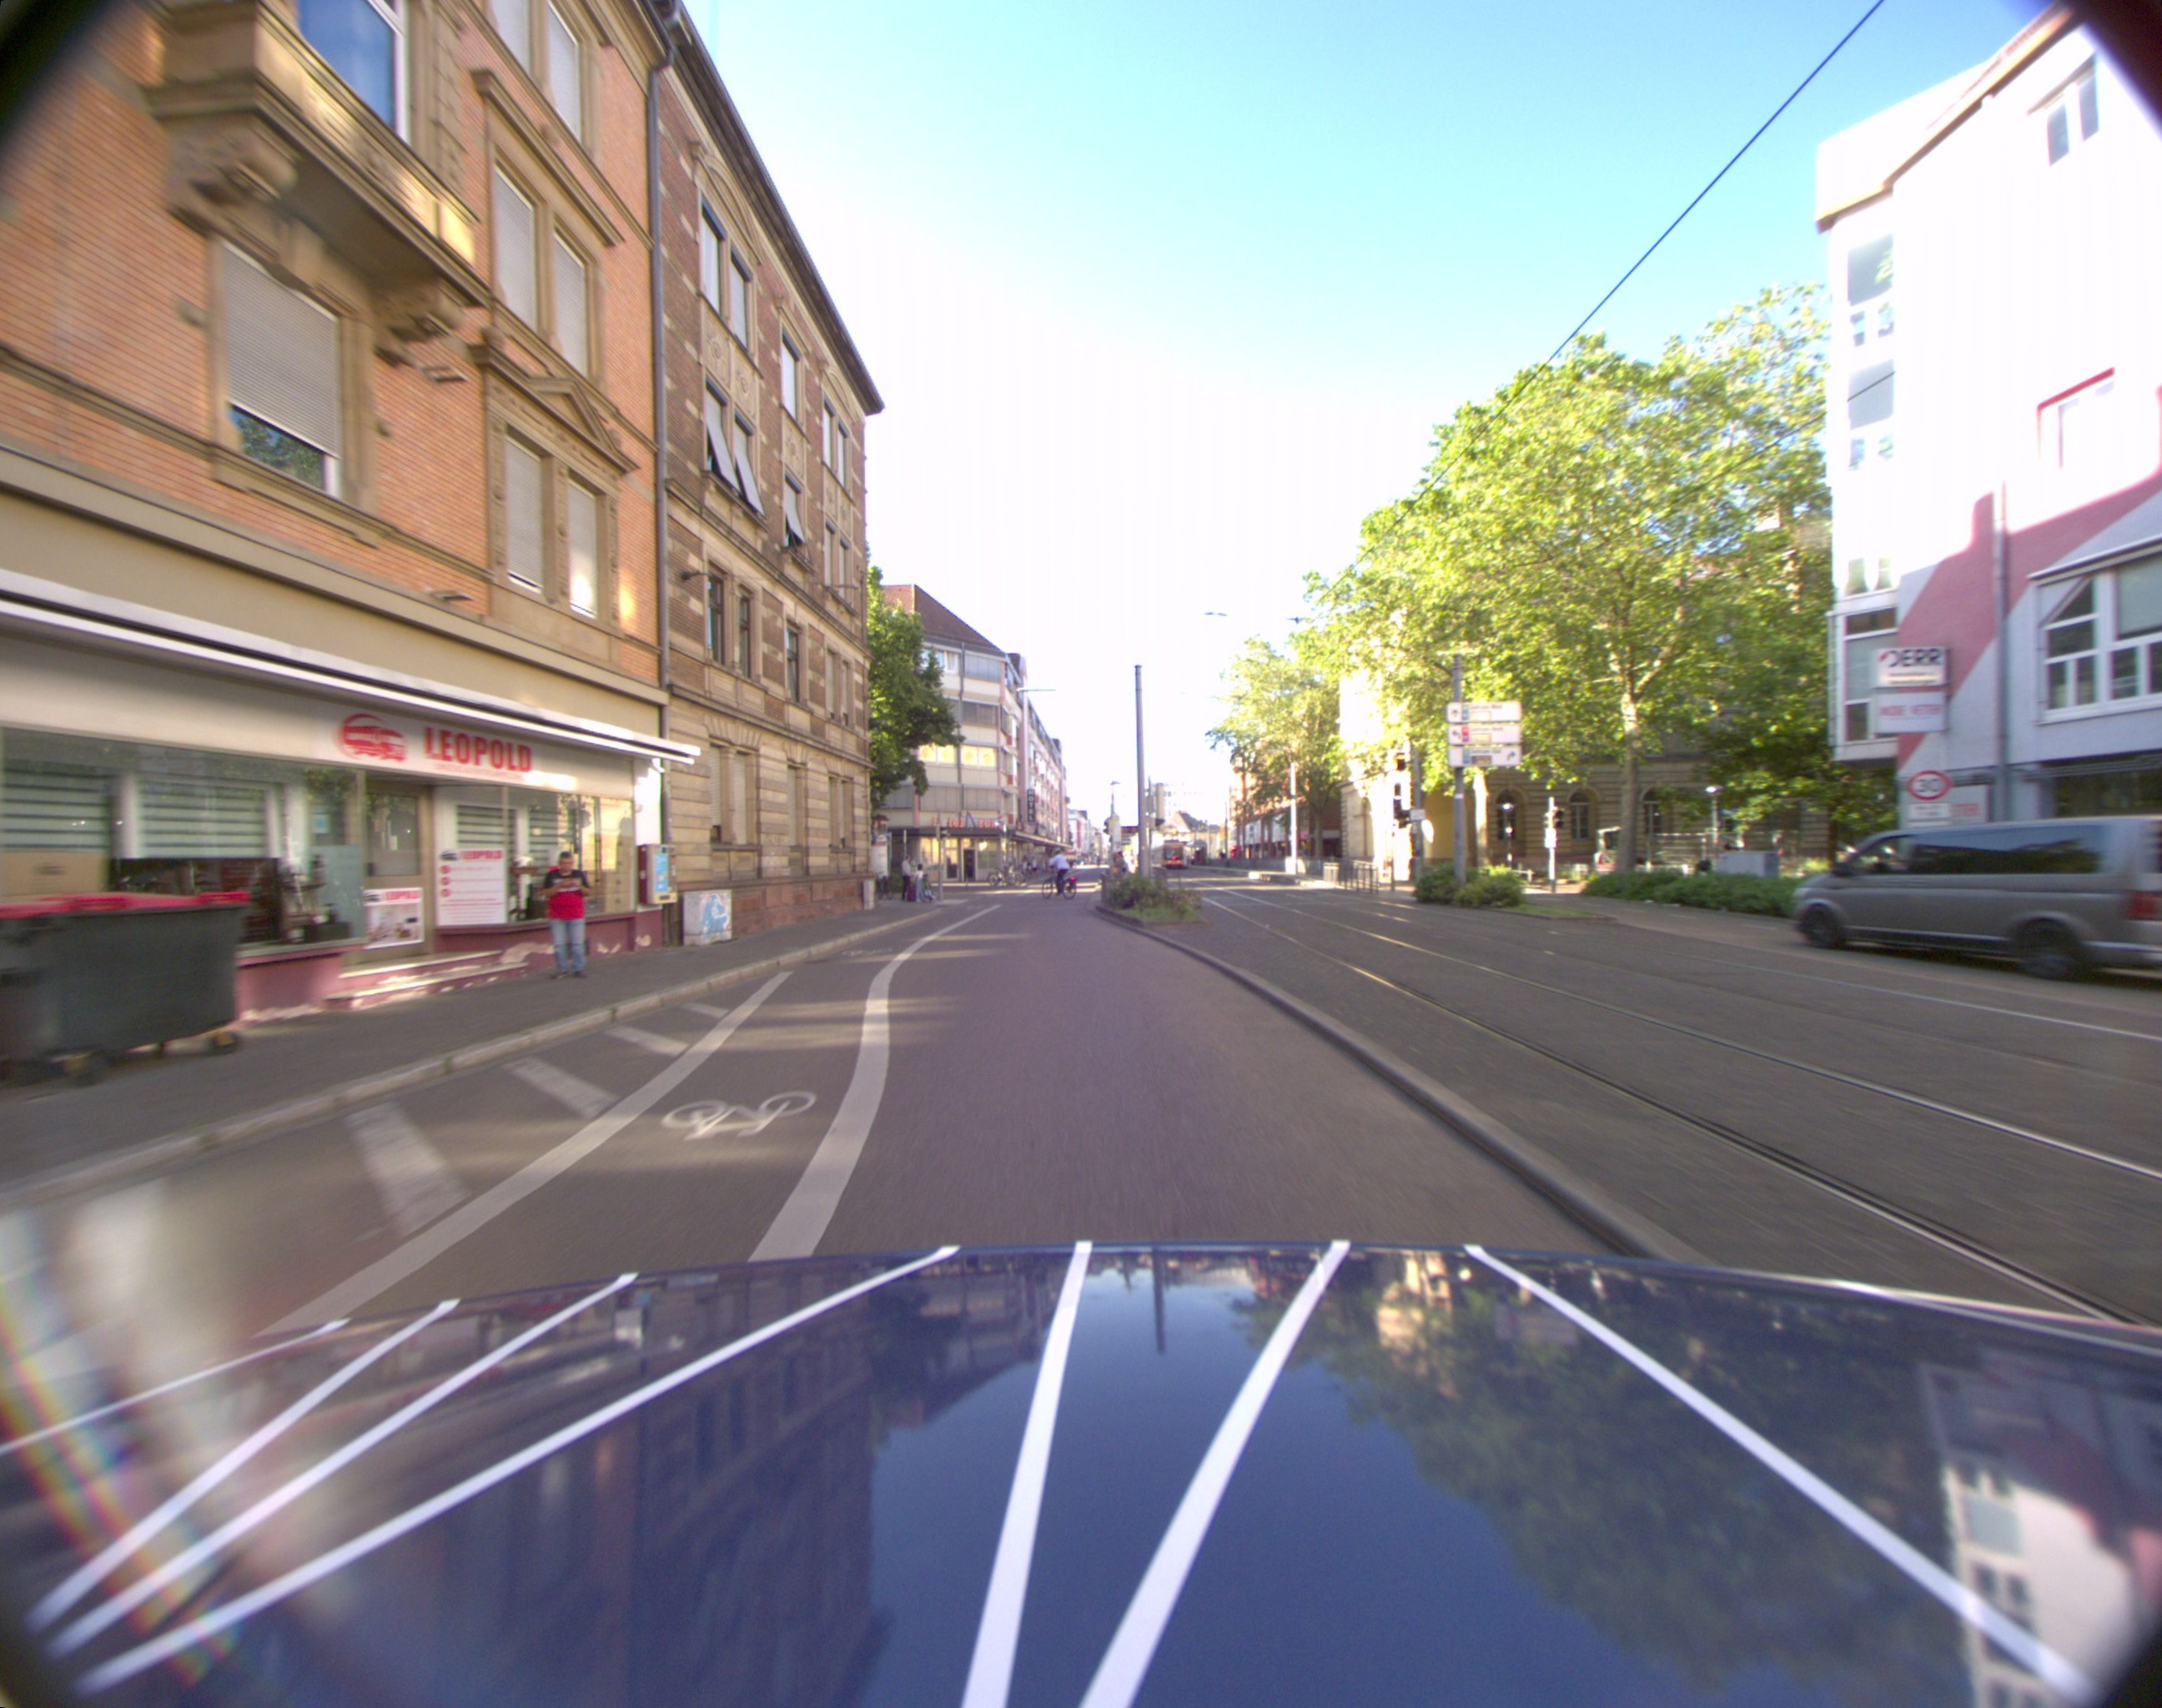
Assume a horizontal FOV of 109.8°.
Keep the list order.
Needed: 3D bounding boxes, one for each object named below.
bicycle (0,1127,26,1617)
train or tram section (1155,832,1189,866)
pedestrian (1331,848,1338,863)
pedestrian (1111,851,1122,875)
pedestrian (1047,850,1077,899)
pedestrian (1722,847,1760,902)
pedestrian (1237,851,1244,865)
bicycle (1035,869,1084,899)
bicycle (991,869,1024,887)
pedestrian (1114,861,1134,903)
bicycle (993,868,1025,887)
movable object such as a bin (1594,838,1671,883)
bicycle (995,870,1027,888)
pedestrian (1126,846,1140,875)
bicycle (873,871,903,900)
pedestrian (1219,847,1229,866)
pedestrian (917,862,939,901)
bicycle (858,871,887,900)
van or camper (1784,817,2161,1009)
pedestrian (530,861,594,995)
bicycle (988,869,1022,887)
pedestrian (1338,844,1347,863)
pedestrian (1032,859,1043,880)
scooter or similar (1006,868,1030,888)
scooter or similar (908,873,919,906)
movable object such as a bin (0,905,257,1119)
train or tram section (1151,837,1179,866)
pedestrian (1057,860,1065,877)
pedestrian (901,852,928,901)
[{"bbox_3d":[-2.662,1.221,0.731,0.649,1.132,2.093,-2,0,-12],"label":"bicycle"},{"bbox_3d":[10.961,-0.411,93.261,2.981,3.622,16.492,-2,-1,3],"label":"train or tram section"},{"bbox_3d":[24.687,0.154,73.928,0.584,1.521,0.474,-1,1,4],"label":"pedestrian"},{"bbox_3d":[1.996,0.486,42.505,0.480,1.321,0.355,-1,1,32],"label":"pedestrian"},{"bbox_3d":[-0.731,0.772,28.823,0.593,1.811,0.944,-2,0,38],"label":"pedestrian"},{"bbox_3d":[19.791,0.609,22.794,0.692,1.627,0.674,-1,0,-30],"label":"pedestrian"},{"bbox_3d":[22.268,0.532,106.106,0.791,1.905,0.666,-1,0,1],"label":"pedestrian"},{"bbox_3d":[-0.827,1.128,28.952,1.939,1.087,0.600,-1,0,38],"label":"bicycle"},{"bbox_3d":[-4.488,1.460,46.591,1.950,1.100,0.564,0,0,1],"label":"bicycle"},{"bbox_3d":[1.643,1.064,29.042,0.519,1.581,0.667,-4,0,-7],"label":"pedestrian"},{"bbox_3d":[-4.484,1.440,47.352,1.950,1.159,0.628,0,0,1],"label":"bicycle"},{"bbox_3d":[24.966,0.304,34.481,2.643,2.002,1.177,-1,0,26],"label":"movable object such as a bin"},{"bbox_3d":[-4.457,1.590,48.622,1.950,1.100,0.564,0,0,1],"label":"bicycle"},{"bbox_3d":[3.222,0.399,46.912,0.764,1.724,0.590,-1,0,9],"label":"pedestrian"},{"bbox_3d":[-7.755,1.240,30.494,0.445,1.108,1.810,-1,0,-37],"label":"bicycle"},{"bbox_3d":[12.605,0.218,66.911,0.697,1.658,1.033,-1,0,3],"label":"pedestrian"},{"bbox_3d":[-5.744,1.021,28.519,0.581,1.406,0.575,-3,0,-32],"label":"pedestrian"},{"bbox_3d":[-8.390,1.263,30.522,0.445,1.108,1.810,-1,0,-37],"label":"bicycle"},{"bbox_3d":[12.025,0.621,9.634,1.998,1.929,4.836,2,0,5],"label":"van or camper"},{"bbox_3d":[-6.888,0.955,10.090,0.469,1.718,0.589,-1,-1,39],"label":"pedestrian"},{"bbox_3d":[-4.593,1.447,45.944,1.950,1.100,0.564,0,0,1],"label":"bicycle"},{"bbox_3d":[25.384,-0.028,73.764,0.708,1.871,0.626,-1,0,6],"label":"pedestrian"},{"bbox_3d":[-3.540,1.260,61.538,0.746,1.717,0.815,-2,0,3],"label":"pedestrian"},{"bbox_3d":[-4.082,1.568,49.261,1.482,1.222,0.592,1,0,3],"label":"scooter or similar"},{"bbox_3d":[-6.890,1.446,31.207,0.392,1.281,1.521,-1,0,-13],"label":"scooter or similar"},{"bbox_3d":[-7.321,1.103,5.720,0.777,1.339,1.299,-1,0,1],"label":"movable object such as a bin"},{"bbox_3d":[11.910,-0.293,108.490,2.981,3.623,13.947,-2,0,3],"label":"train or tram section"},{"bbox_3d":[-2.077,1.487,79.385,0.669,1.718,0.810,2,0,2],"label":"pedestrian"},{"bbox_3d":[-6.292,0.835,28.677,0.851,1.797,0.874,0,-1,-22],"label":"pedestrian"}]
